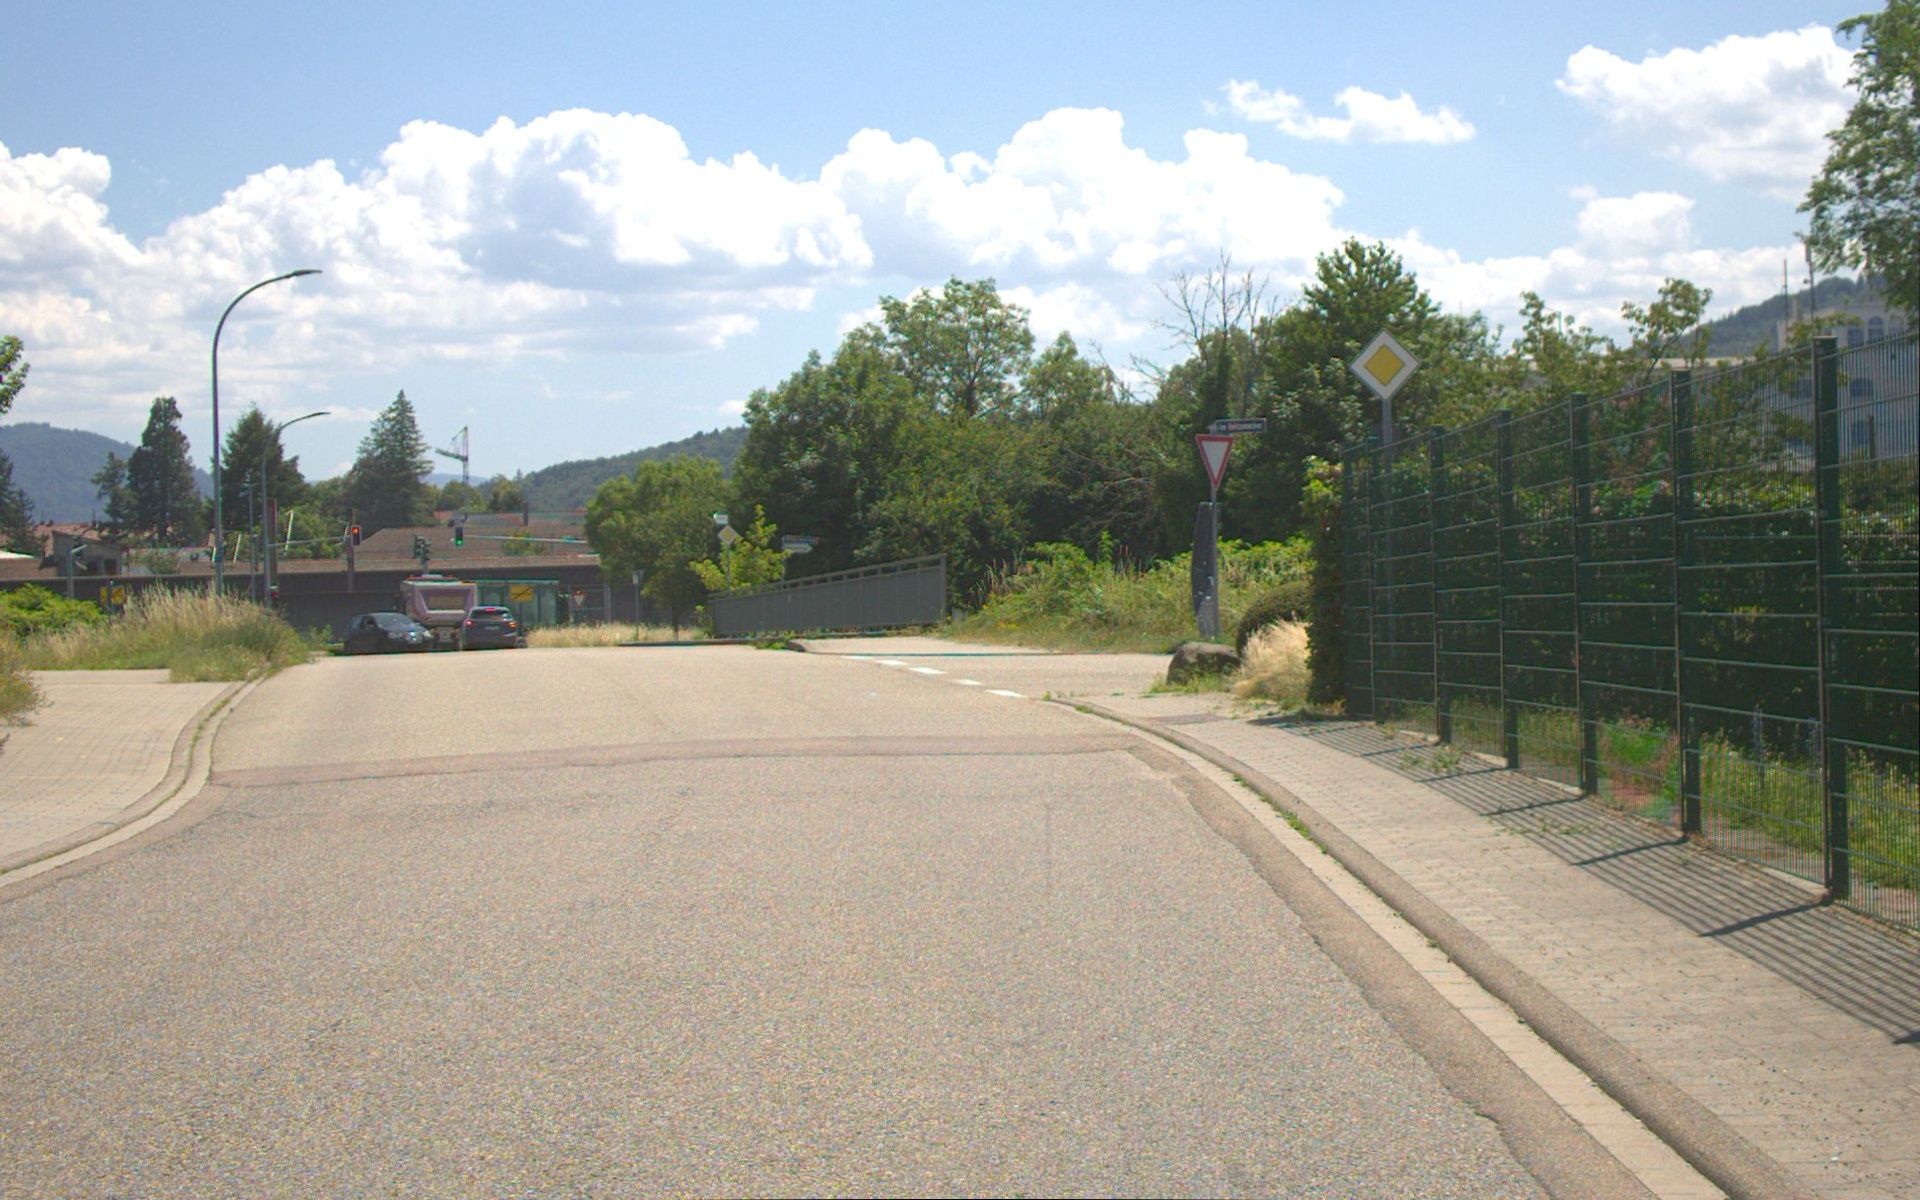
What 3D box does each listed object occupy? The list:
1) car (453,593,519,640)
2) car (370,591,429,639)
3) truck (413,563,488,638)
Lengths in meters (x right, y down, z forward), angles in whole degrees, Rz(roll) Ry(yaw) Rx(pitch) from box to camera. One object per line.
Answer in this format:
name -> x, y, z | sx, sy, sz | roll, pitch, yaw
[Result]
car -> -15.683, 0.521, 113.700 | 1.775, 1.443, 3.453 | -1, 1, -14
car -> -18.218, 0.481, 111.615 | 1.680, 1.443, 3.453 | -1, 1, -12
truck -> -19.974, -0.006, 134.501 | 2.682, 2.763, 6.091 | -1, 1, -10
